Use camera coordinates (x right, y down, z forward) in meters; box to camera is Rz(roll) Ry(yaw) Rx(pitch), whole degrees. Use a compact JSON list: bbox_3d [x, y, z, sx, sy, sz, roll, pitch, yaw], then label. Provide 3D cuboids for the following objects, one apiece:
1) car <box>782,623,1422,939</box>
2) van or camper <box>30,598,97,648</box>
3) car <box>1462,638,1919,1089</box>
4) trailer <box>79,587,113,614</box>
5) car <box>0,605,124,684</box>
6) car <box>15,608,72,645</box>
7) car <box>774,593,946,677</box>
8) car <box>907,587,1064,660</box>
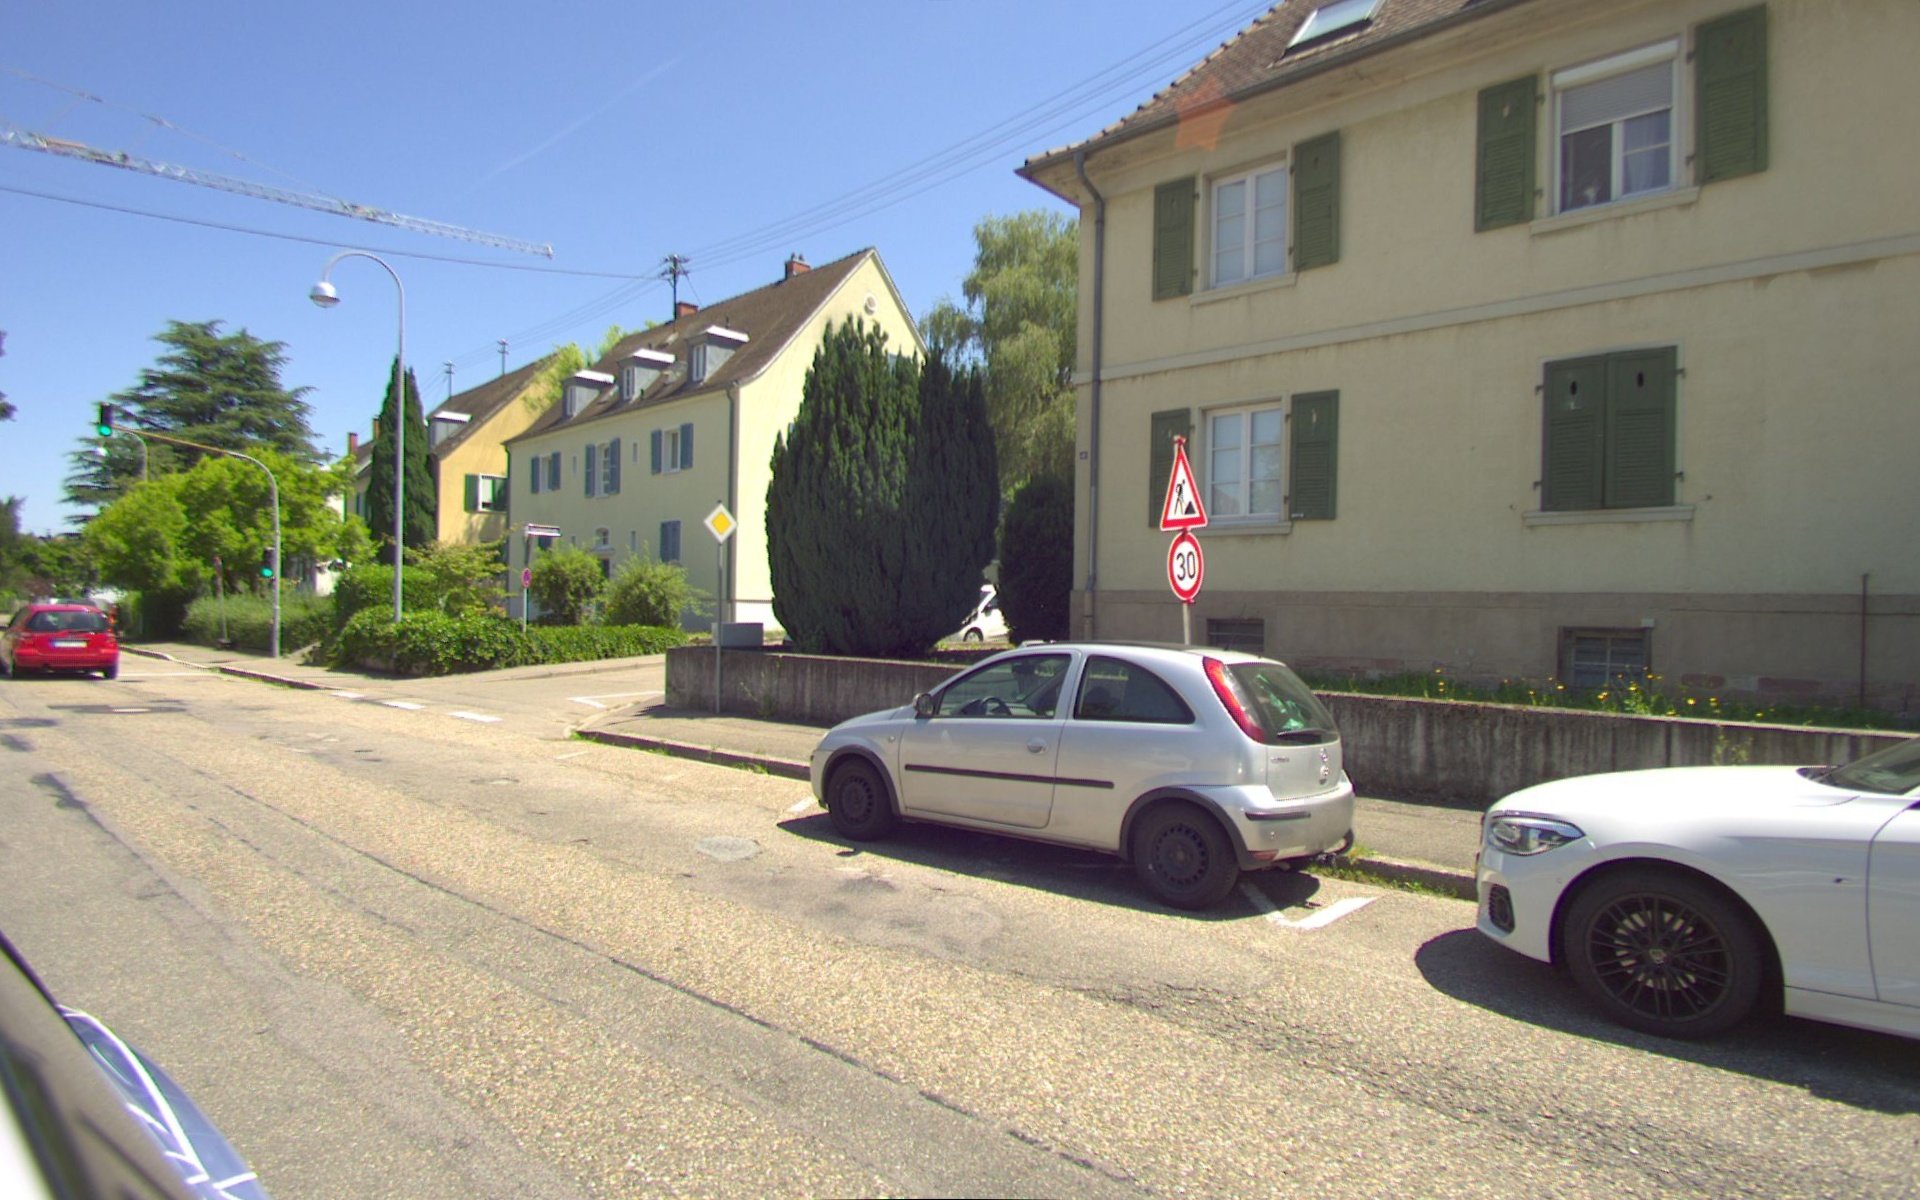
[{"bbox_3d":[0.779,0.937,6.797,3.921,1.458,1.741,0,-3,40],"label":"car"},{"bbox_3d":[-35.349,0.887,39.879,1.662,1.818,3.988,4,-3,-45],"label":"van or camper"},{"bbox_3d":[4.242,0.914,3.488,4.215,1.413,1.776,0,-3,40],"label":"car"},{"bbox_3d":[-70.456,0.051,82.526,1.790,2.049,4.008,5,-3,-38],"label":"trailer"},{"bbox_3d":[-19.802,0.933,22.101,3.695,1.578,1.795,0,-3,42],"label":"car"},{"bbox_3d":[-39.239,1.125,43.304,1.661,1.452,4.251,4,-3,-43],"label":"car"},{"bbox_3d":[-2.066,0.673,21.335,3.164,1.467,1.737,-4,3,-42],"label":"car"},{"bbox_3d":[0.667,0.502,24.365,3.538,1.467,1.751,-4,3,-42],"label":"car"}]
